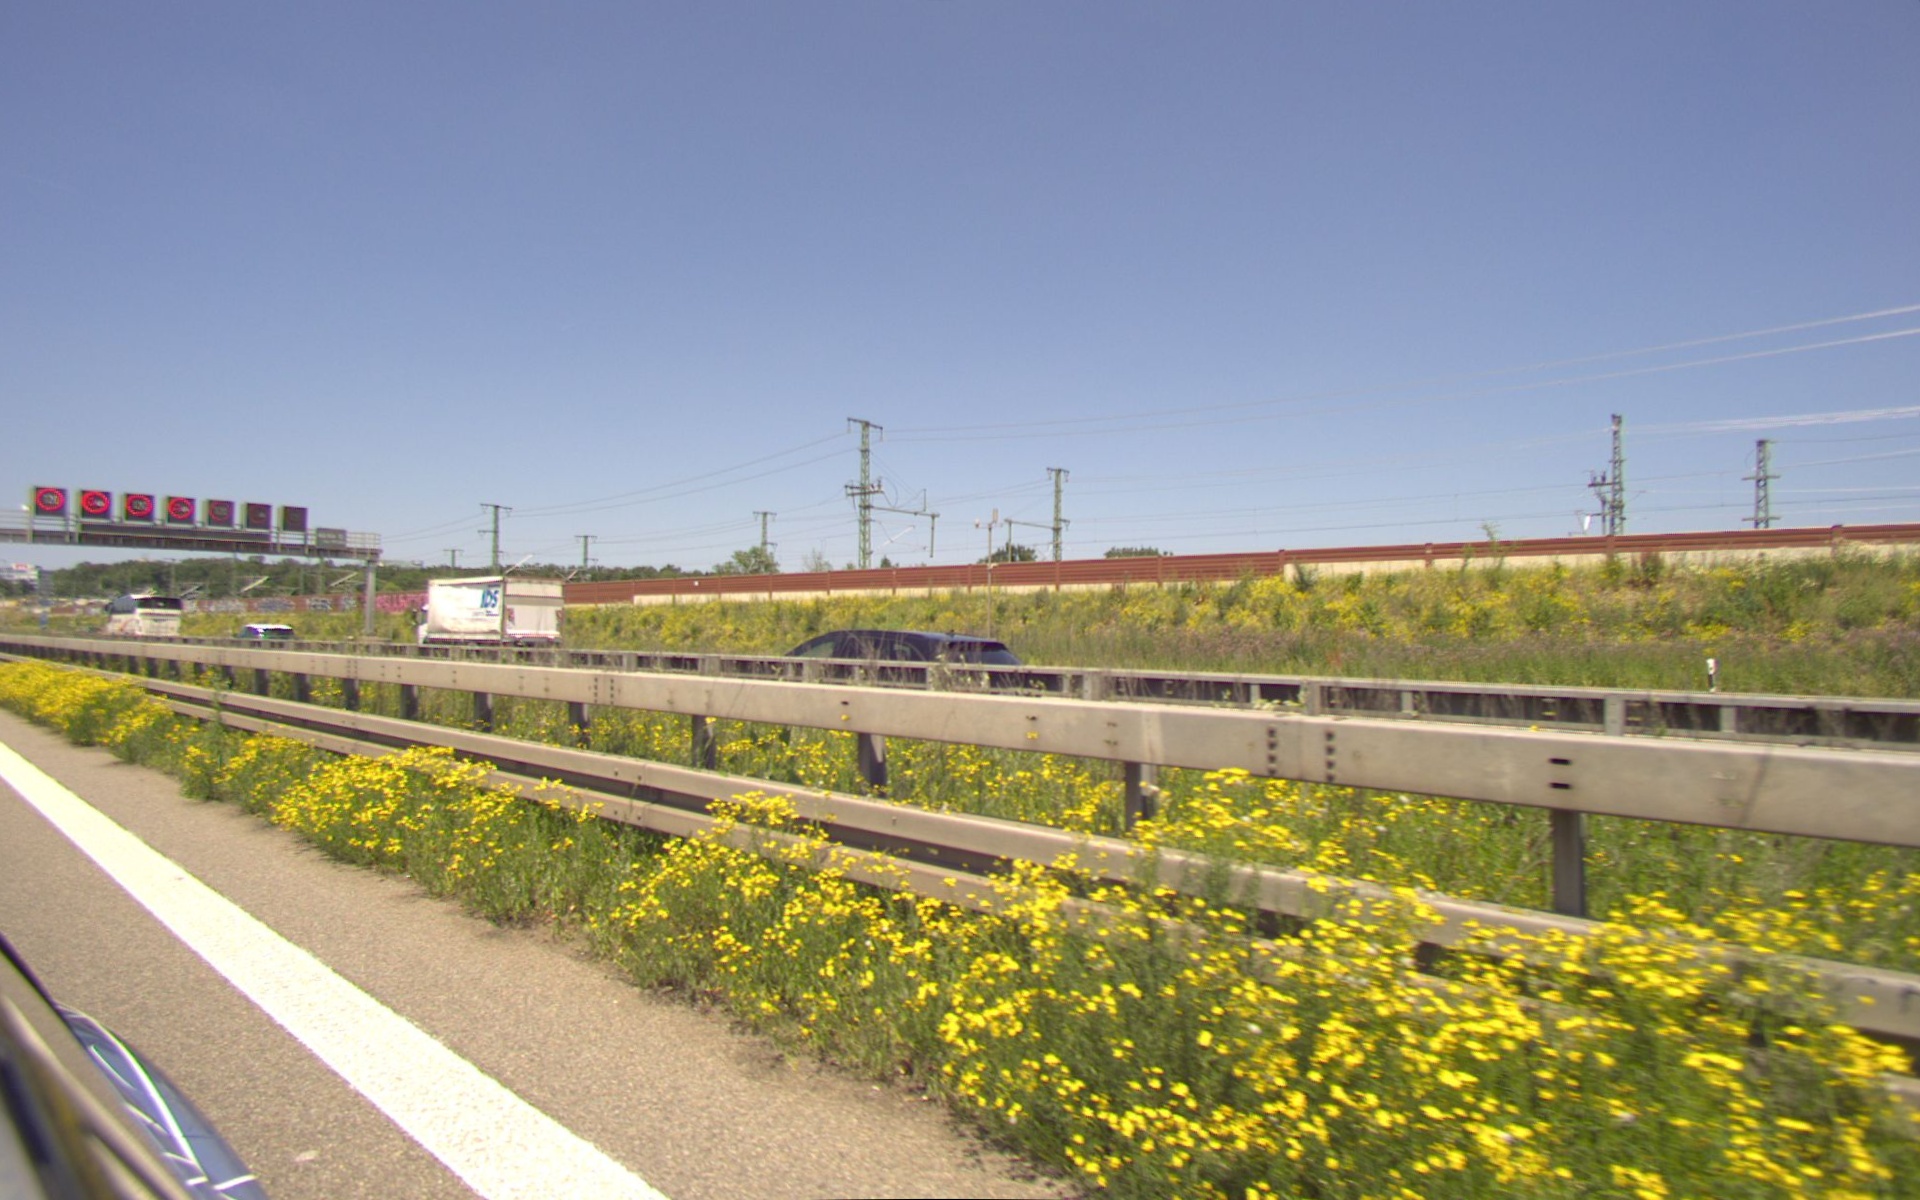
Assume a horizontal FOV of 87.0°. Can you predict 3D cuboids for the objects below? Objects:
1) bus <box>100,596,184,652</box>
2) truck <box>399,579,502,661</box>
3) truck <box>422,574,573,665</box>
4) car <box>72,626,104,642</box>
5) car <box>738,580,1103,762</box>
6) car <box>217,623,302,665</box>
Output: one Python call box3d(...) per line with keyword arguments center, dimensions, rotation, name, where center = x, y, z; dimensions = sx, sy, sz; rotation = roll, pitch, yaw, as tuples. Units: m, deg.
box3d(center=(-58.281, 1.687, 71.981), dimensions=(10.935, 3.673, 2.827), rotation=(-2, 0, 41), name="bus")
box3d(center=(-22.947, 0.863, 45.521), dimensions=(4.021, 3.493, 2.818), rotation=(-1, 0, 41), name="truck")
box3d(center=(-19.503, 0.789, 42.444), dimensions=(7.777, 3.493, 2.828), rotation=(-1, 0, 42), name="truck")
box3d(center=(-83.374, 3.217, 96.745), dimensions=(3.998, 1.485, 1.674), rotation=(-1, -4, 42), name="car")
box3d(center=(-0.567, 0.724, 11.770), dimensions=(3.998, 1.733, 1.972), rotation=(-1, -2, 42), name="car")
box3d(center=(-28.534, 1.764, 41.182), dimensions=(3.998, 1.623, 1.900), rotation=(-1, -3, 42), name="car")
